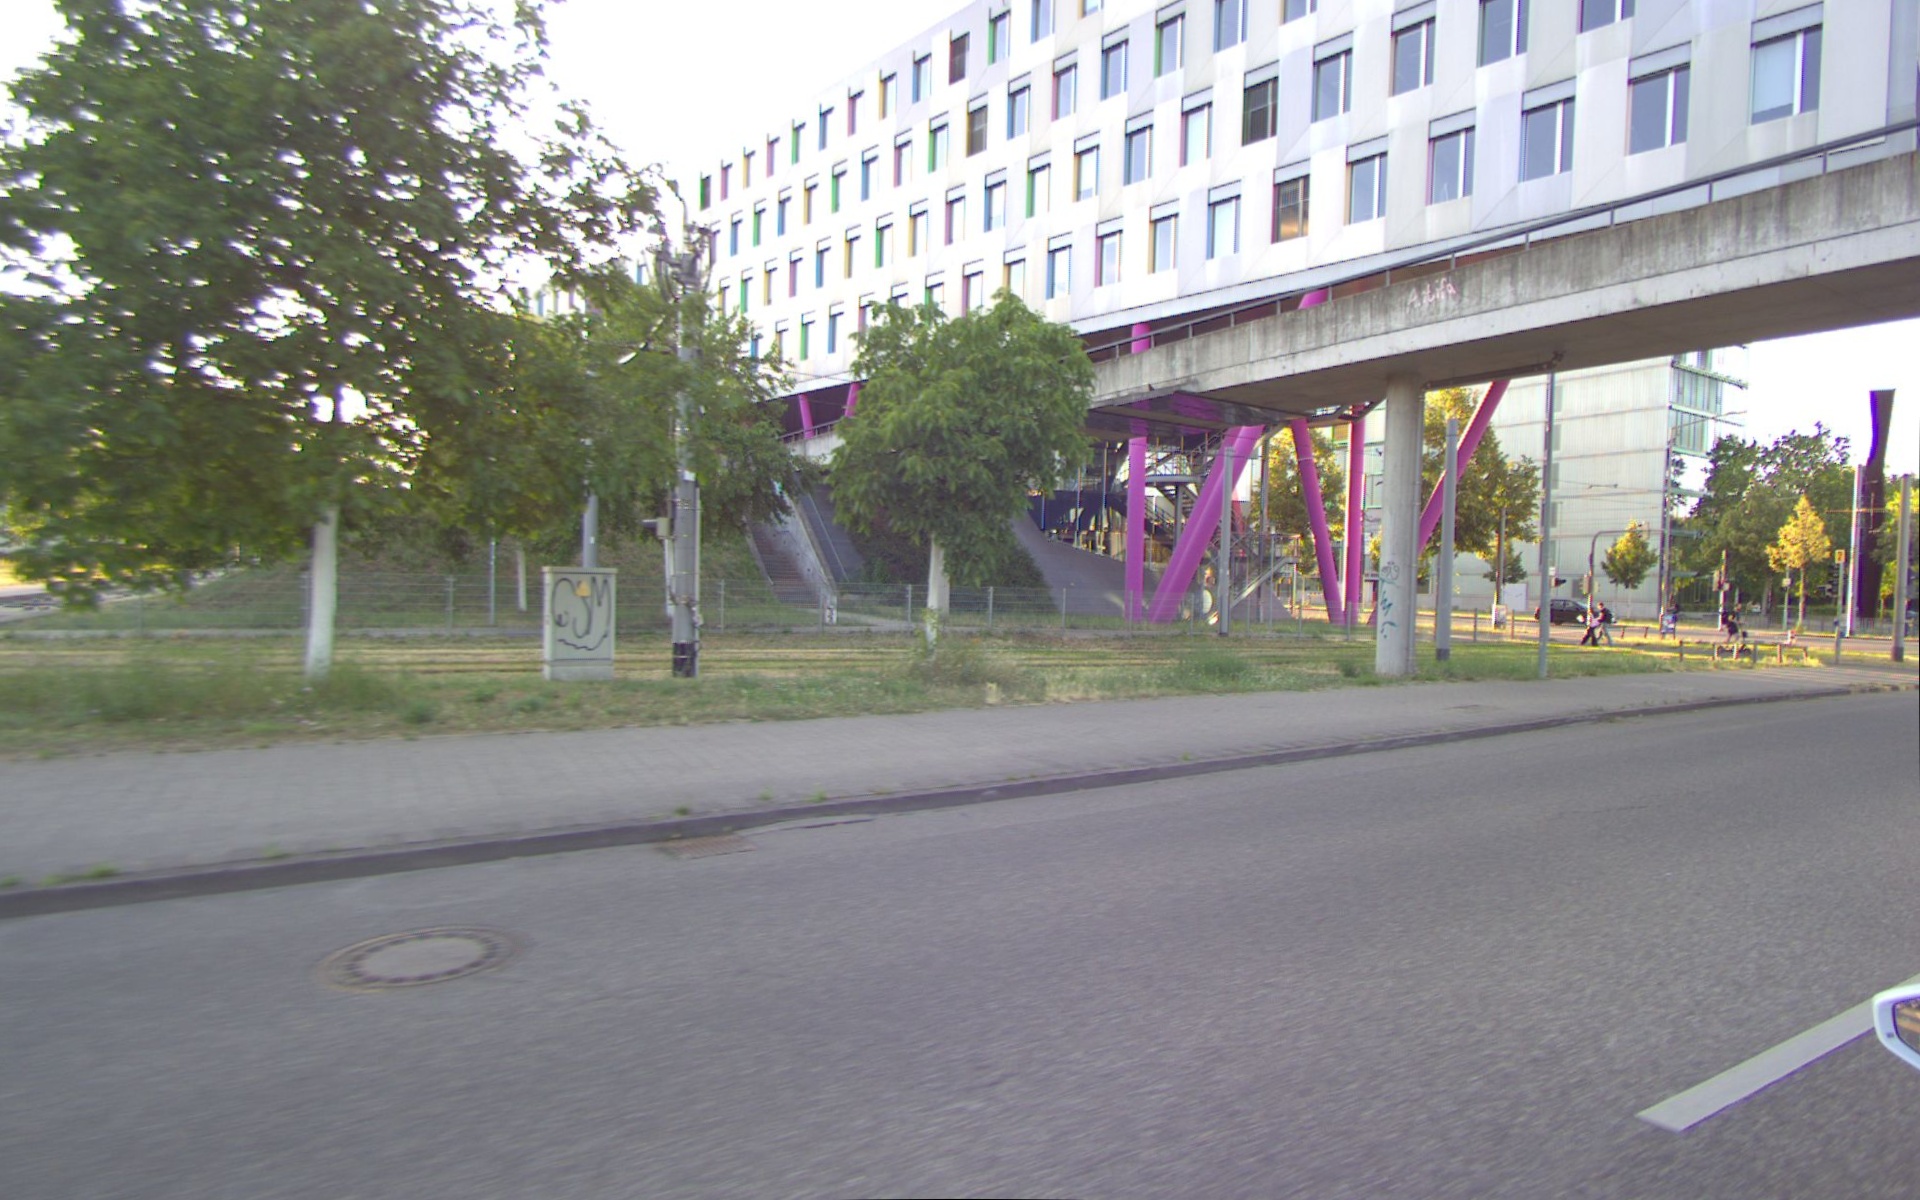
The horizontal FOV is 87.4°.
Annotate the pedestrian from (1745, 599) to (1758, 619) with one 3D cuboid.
[{"bbox_3d":[82.369,0.954,104.544,0.686,2.041,0.696,0,2,-11],"label":"pedestrian"}]

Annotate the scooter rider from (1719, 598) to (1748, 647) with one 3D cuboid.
[{"bbox_3d":[29.390,0.854,38.175,0.438,1.807,0.701,-1,2,-34],"label":"scooter rider"}]

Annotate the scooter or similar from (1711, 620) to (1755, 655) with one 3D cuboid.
[{"bbox_3d":[29.361,1.414,38.162,0.498,1.217,1.205,-1,2,-34],"label":"scooter or similar"}]

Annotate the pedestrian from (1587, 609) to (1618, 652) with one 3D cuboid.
[{"bbox_3d":[25.641,1.198,40.102,0.699,1.686,0.700,0,2,-13],"label":"pedestrian"}]

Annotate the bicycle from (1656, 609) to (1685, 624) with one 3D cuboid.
[{"bbox_3d":[57.970,1.325,81.956,1.936,1.143,0.558,2,2,35],"label":"bicycle"}]

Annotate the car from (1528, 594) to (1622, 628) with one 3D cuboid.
[{"bbox_3d":[37.231,0.620,60.910,1.923,1.841,4.443,0,2,-31],"label":"car"}]

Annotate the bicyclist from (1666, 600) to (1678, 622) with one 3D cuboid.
[{"bbox_3d":[58.053,0.917,81.882,0.746,1.746,0.550,2,2,35],"label":"bicyclist"}]

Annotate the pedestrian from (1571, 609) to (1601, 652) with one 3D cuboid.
[{"bbox_3d":[24.866,1.202,39.892,0.699,1.646,0.686,0,2,-13],"label":"pedestrian"}]

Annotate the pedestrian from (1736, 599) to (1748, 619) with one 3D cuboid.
[{"bbox_3d":[81.285,0.928,104.408,0.686,2.041,0.696,0,2,-11],"label":"pedestrian"}]
